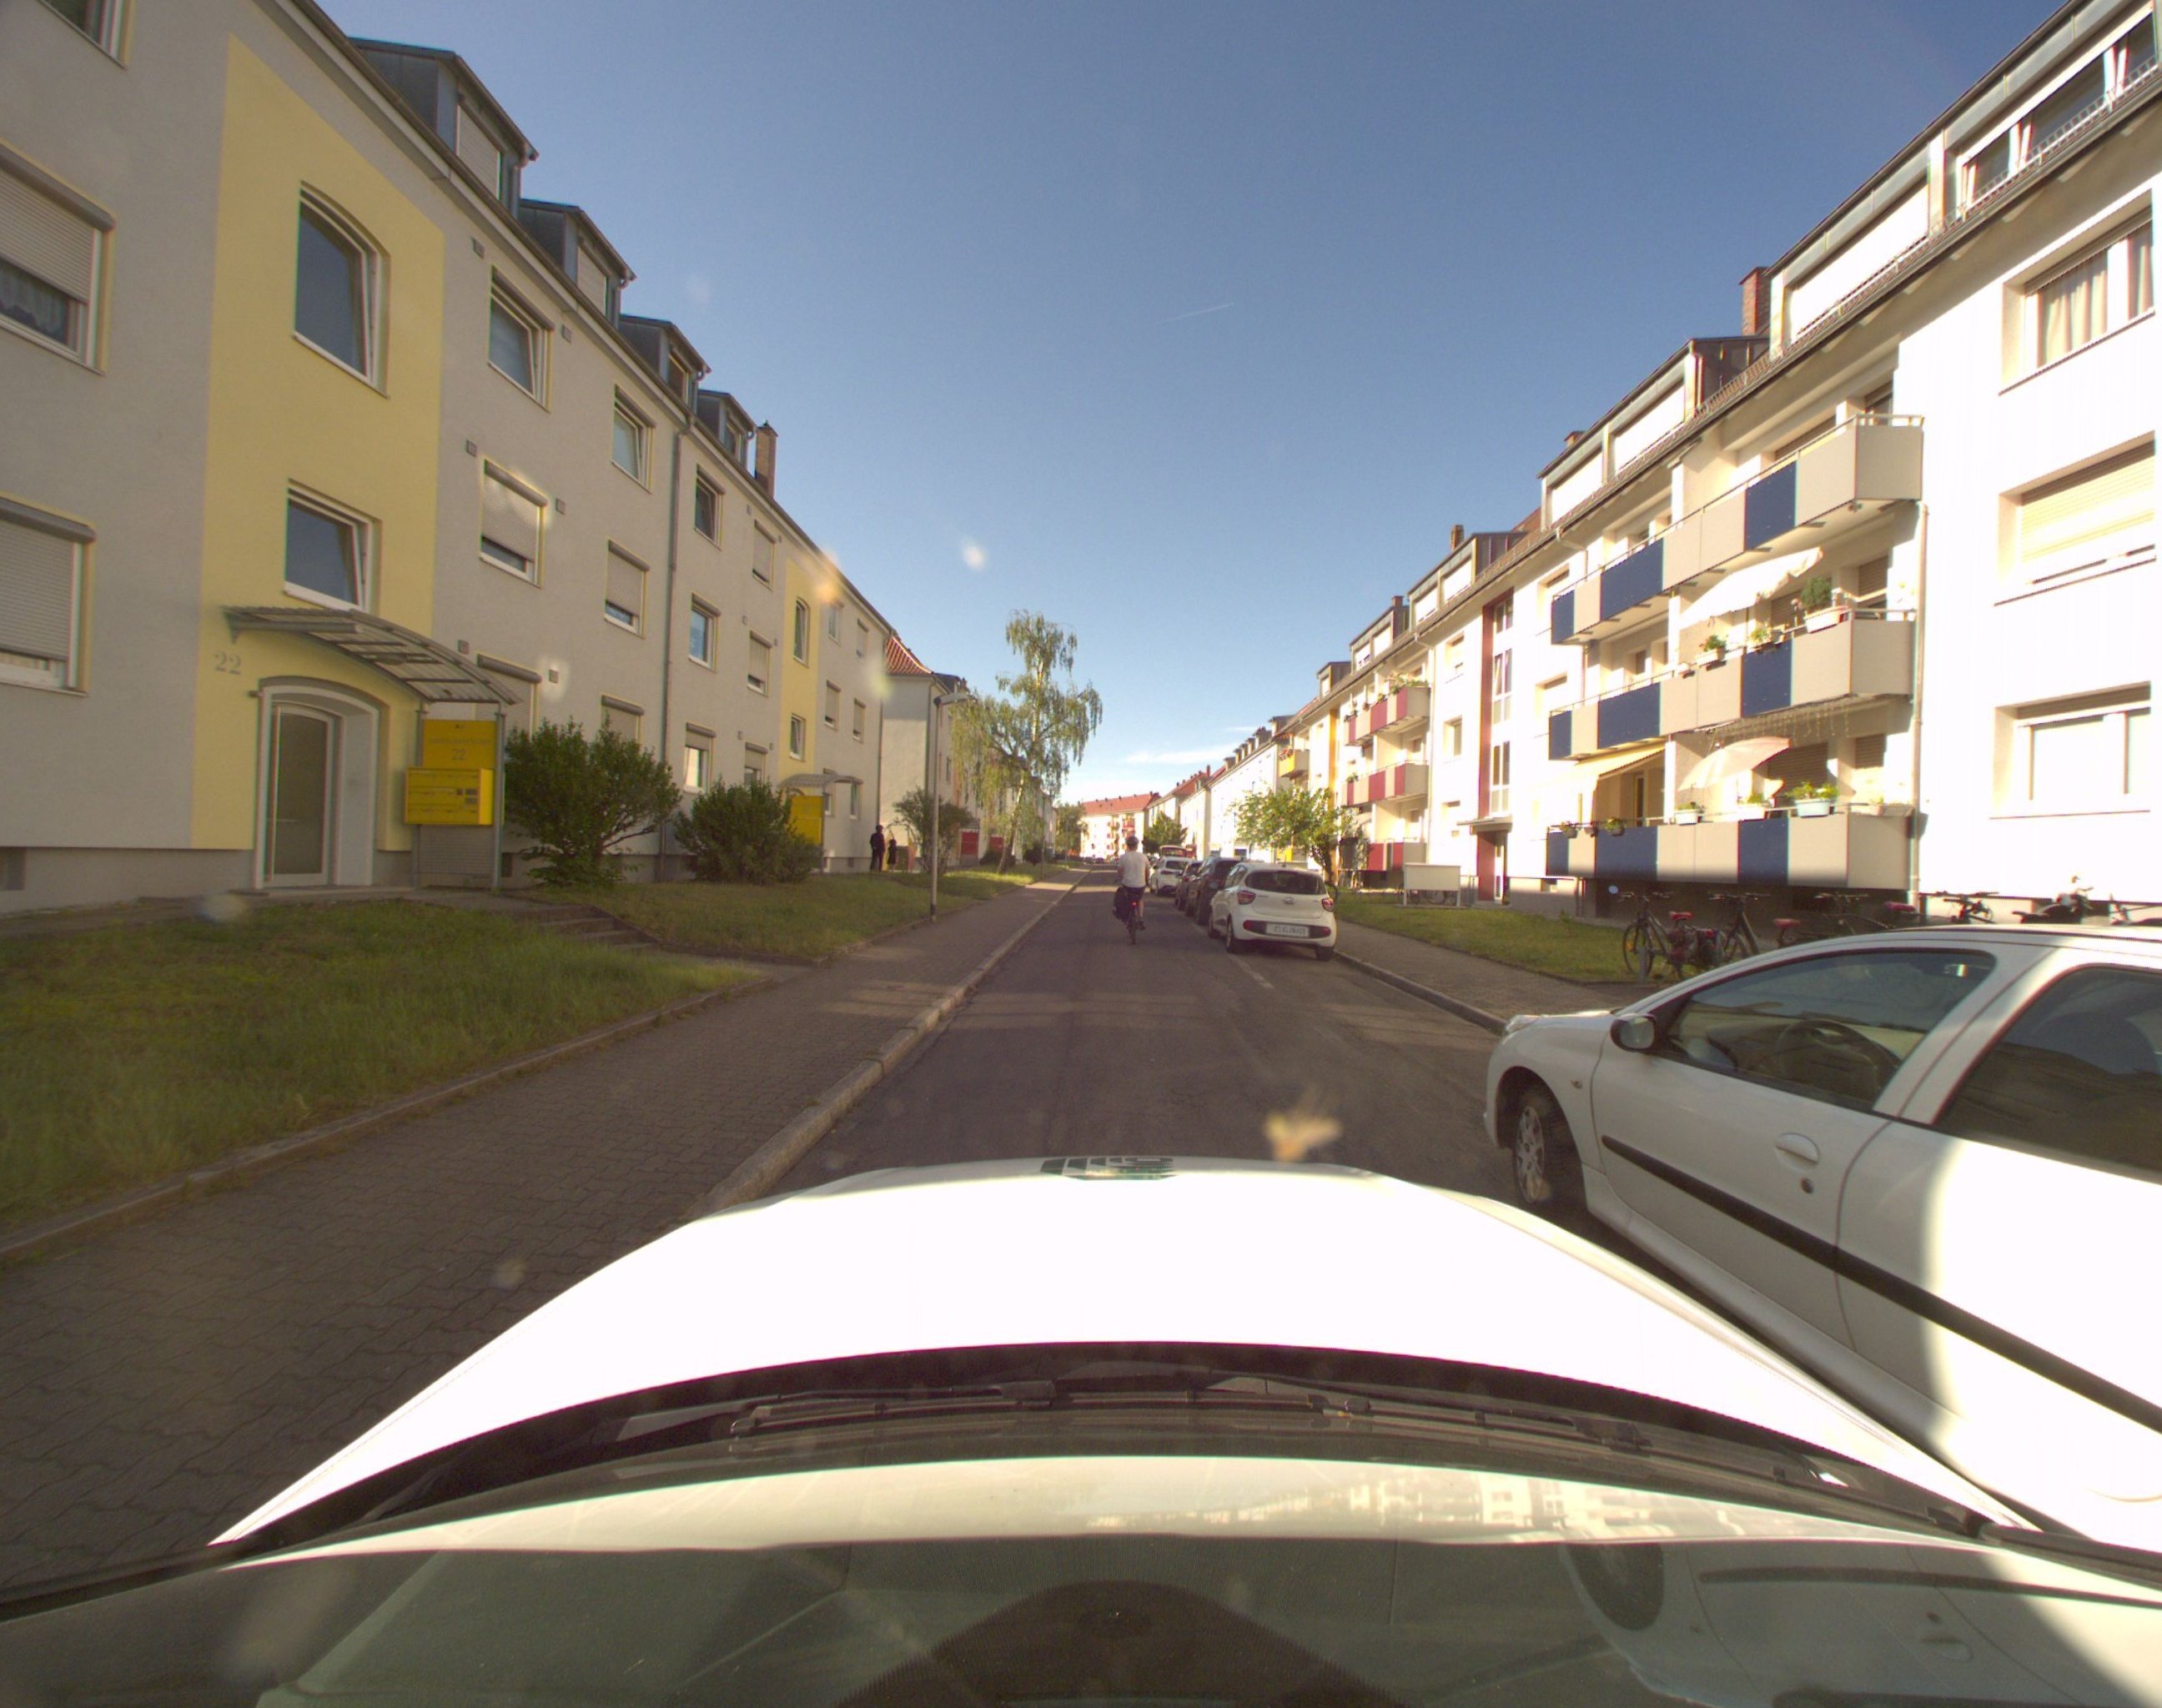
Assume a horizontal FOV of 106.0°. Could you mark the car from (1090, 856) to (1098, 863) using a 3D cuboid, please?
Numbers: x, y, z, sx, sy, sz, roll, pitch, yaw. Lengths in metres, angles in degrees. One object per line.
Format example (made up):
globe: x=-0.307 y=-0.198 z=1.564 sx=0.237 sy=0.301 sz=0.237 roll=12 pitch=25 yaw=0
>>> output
car: x=2.714 y=1.149 z=166.407 sx=1.465 sy=1.335 sz=3.138 roll=-2 pitch=0 yaw=-2

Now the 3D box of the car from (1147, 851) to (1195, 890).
car: x=4.171 y=0.724 z=38.377 sx=1.985 sy=1.613 sz=5.000 roll=3 pitch=0 yaw=4

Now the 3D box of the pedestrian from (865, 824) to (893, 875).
pedestrian: x=-7.323 y=-0.149 z=29.560 sx=0.802 sy=1.824 sz=0.718 roll=1 pitch=-1 yaw=2

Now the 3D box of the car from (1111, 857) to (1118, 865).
car: x=7.136 y=1.447 z=171.766 sx=1.377 sy=1.497 sz=3.076 roll=1 pitch=0 yaw=0

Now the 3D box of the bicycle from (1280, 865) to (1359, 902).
bicycle: x=7.834 y=0.962 z=26.838 sx=2.410 sy=1.130 sz=0.881 roll=1 pitch=0 yaw=7

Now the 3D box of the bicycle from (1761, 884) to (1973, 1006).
bicycle: x=8.496 y=0.929 z=8.930 sx=0.542 sy=1.120 sz=1.873 roll=0 pitch=0 yaw=1

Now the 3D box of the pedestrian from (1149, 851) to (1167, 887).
pedestrian: x=3.433 y=0.672 z=36.456 sx=0.737 sy=1.575 sz=0.880 roll=1 pitch=0 yaw=1

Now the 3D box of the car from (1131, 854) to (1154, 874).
car: x=4.764 y=0.759 z=63.590 sx=1.635 sy=1.498 sz=4.159 roll=1 pitch=0 yaw=3

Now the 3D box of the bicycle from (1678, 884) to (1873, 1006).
bicycle: x=7.548 y=0.930 z=8.980 sx=0.575 sy=1.132 sz=1.873 roll=0 pitch=0 yaw=1

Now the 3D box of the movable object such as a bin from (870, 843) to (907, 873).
movable object such as a bin: x=-9.121 y=0.202 z=38.614 sx=1.382 sy=1.336 sz=1.228 roll=3 pitch=0 yaw=1

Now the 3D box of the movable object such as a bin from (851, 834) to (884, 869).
movable object such as a bin: x=-8.885 y=-0.098 z=33.883 sx=1.080 sy=1.406 sz=0.813 roll=2 pitch=0 yaw=2

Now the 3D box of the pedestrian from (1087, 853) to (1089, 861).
pedestrian: x=1.314 y=0.538 z=151.479 sx=0.432 sy=1.574 sz=0.543 roll=1 pitch=0 yaw=1

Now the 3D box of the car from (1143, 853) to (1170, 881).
car: x=4.495 y=0.772 z=48.312 sx=1.472 sy=1.529 sz=2.945 roll=4 pitch=0 yaw=6

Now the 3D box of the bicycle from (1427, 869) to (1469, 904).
bicycle: x=11.775 y=1.030 z=26.199 sx=0.518 sy=1.037 sz=1.976 roll=0 pitch=0 yaw=2

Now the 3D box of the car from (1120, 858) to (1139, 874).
car: x=5.185 y=1.267 z=87.709 sx=1.855 sy=1.668 sz=4.128 roll=3 pitch=0 yaw=2

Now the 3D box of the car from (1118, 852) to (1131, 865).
car: x=6.584 y=0.668 z=122.593 sx=1.669 sy=1.738 sz=3.942 roll=3 pitch=0 yaw=0

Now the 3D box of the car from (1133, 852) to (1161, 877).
car: x=4.673 y=0.718 z=58.492 sx=1.776 sy=1.648 sz=4.472 roll=3 pitch=0 yaw=3

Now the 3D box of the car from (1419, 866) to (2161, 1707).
car: x=2.709 y=0.825 z=2.438 sx=1.685 sy=1.418 sz=4.098 roll=4 pitch=0 yaw=1

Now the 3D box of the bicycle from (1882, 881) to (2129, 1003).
bicycle: x=9.932 y=0.893 z=8.875 sx=0.594 sy=1.116 sz=1.873 roll=1 pitch=0 yaw=1

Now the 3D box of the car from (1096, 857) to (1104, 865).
car: x=3.564 y=1.333 z=154.998 sx=1.464 sy=1.335 sz=3.140 roll=1 pitch=0 yaw=0

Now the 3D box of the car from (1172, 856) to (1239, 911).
car: x=3.700 y=0.837 z=24.815 sx=1.639 sy=1.449 sz=4.065 roll=3 pitch=0 yaw=4

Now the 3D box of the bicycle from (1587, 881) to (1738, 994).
bicycle: x=6.864 y=0.933 z=9.739 sx=0.542 sy=1.170 sz=1.874 roll=0 pitch=0 yaw=3

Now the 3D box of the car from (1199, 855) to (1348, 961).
car: x=3.240 y=0.838 z=14.463 sx=1.707 sy=1.509 sz=3.854 roll=4 pitch=0 yaw=1

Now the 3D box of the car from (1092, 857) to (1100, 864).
car: x=2.959 y=1.299 z=159.713 sx=1.464 sy=1.335 sz=3.140 roll=1 pitch=0 yaw=0

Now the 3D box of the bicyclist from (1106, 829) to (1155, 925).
bicyclist: x=0.863 y=0.390 z=14.429 sx=0.806 sy=1.643 sz=0.899 roll=1 pitch=0 yaw=-1

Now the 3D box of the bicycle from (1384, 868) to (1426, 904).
bicycle: x=10.469 y=1.016 z=26.353 sx=0.518 sy=1.049 sz=2.289 roll=-1 pitch=0 yaw=2

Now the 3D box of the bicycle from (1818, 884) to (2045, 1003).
bicycle: x=9.210 y=0.915 z=8.946 sx=0.536 sy=1.082 sz=1.873 roll=-1 pitch=0 yaw=1

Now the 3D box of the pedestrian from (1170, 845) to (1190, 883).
pedestrian: x=4.439 y=0.424 z=36.513 sx=0.816 sy=1.687 sz=0.604 roll=0 pitch=0 yaw=1

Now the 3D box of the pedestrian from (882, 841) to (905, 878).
pedestrian: x=-6.957 y=0.205 z=30.258 sx=0.683 sy=1.317 sz=0.576 roll=1 pitch=-1 yaw=2

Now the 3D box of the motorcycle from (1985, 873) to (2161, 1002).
motorcycle: x=10.920 y=0.848 z=8.680 sx=0.439 sy=1.238 sz=1.977 roll=0 pitch=0 yaw=2

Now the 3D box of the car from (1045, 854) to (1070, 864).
car: x=-3.933 y=0.875 z=136.738 sx=4.221 sy=1.638 sz=1.581 roll=1 pitch=0 yaw=-3

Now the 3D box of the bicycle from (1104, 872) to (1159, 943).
bicycle: x=0.861 y=0.903 z=14.449 sx=0.806 sy=1.128 sz=2.101 roll=1 pitch=0 yaw=-1

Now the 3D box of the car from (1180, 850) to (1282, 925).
car: x=3.475 y=0.715 z=19.576 sx=1.717 sy=1.578 sz=4.353 roll=1 pitch=0 yaw=1

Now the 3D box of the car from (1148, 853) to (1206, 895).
car: x=3.756 y=0.754 z=32.600 sx=1.766 sy=1.505 sz=4.480 roll=2 pitch=0 yaw=0
